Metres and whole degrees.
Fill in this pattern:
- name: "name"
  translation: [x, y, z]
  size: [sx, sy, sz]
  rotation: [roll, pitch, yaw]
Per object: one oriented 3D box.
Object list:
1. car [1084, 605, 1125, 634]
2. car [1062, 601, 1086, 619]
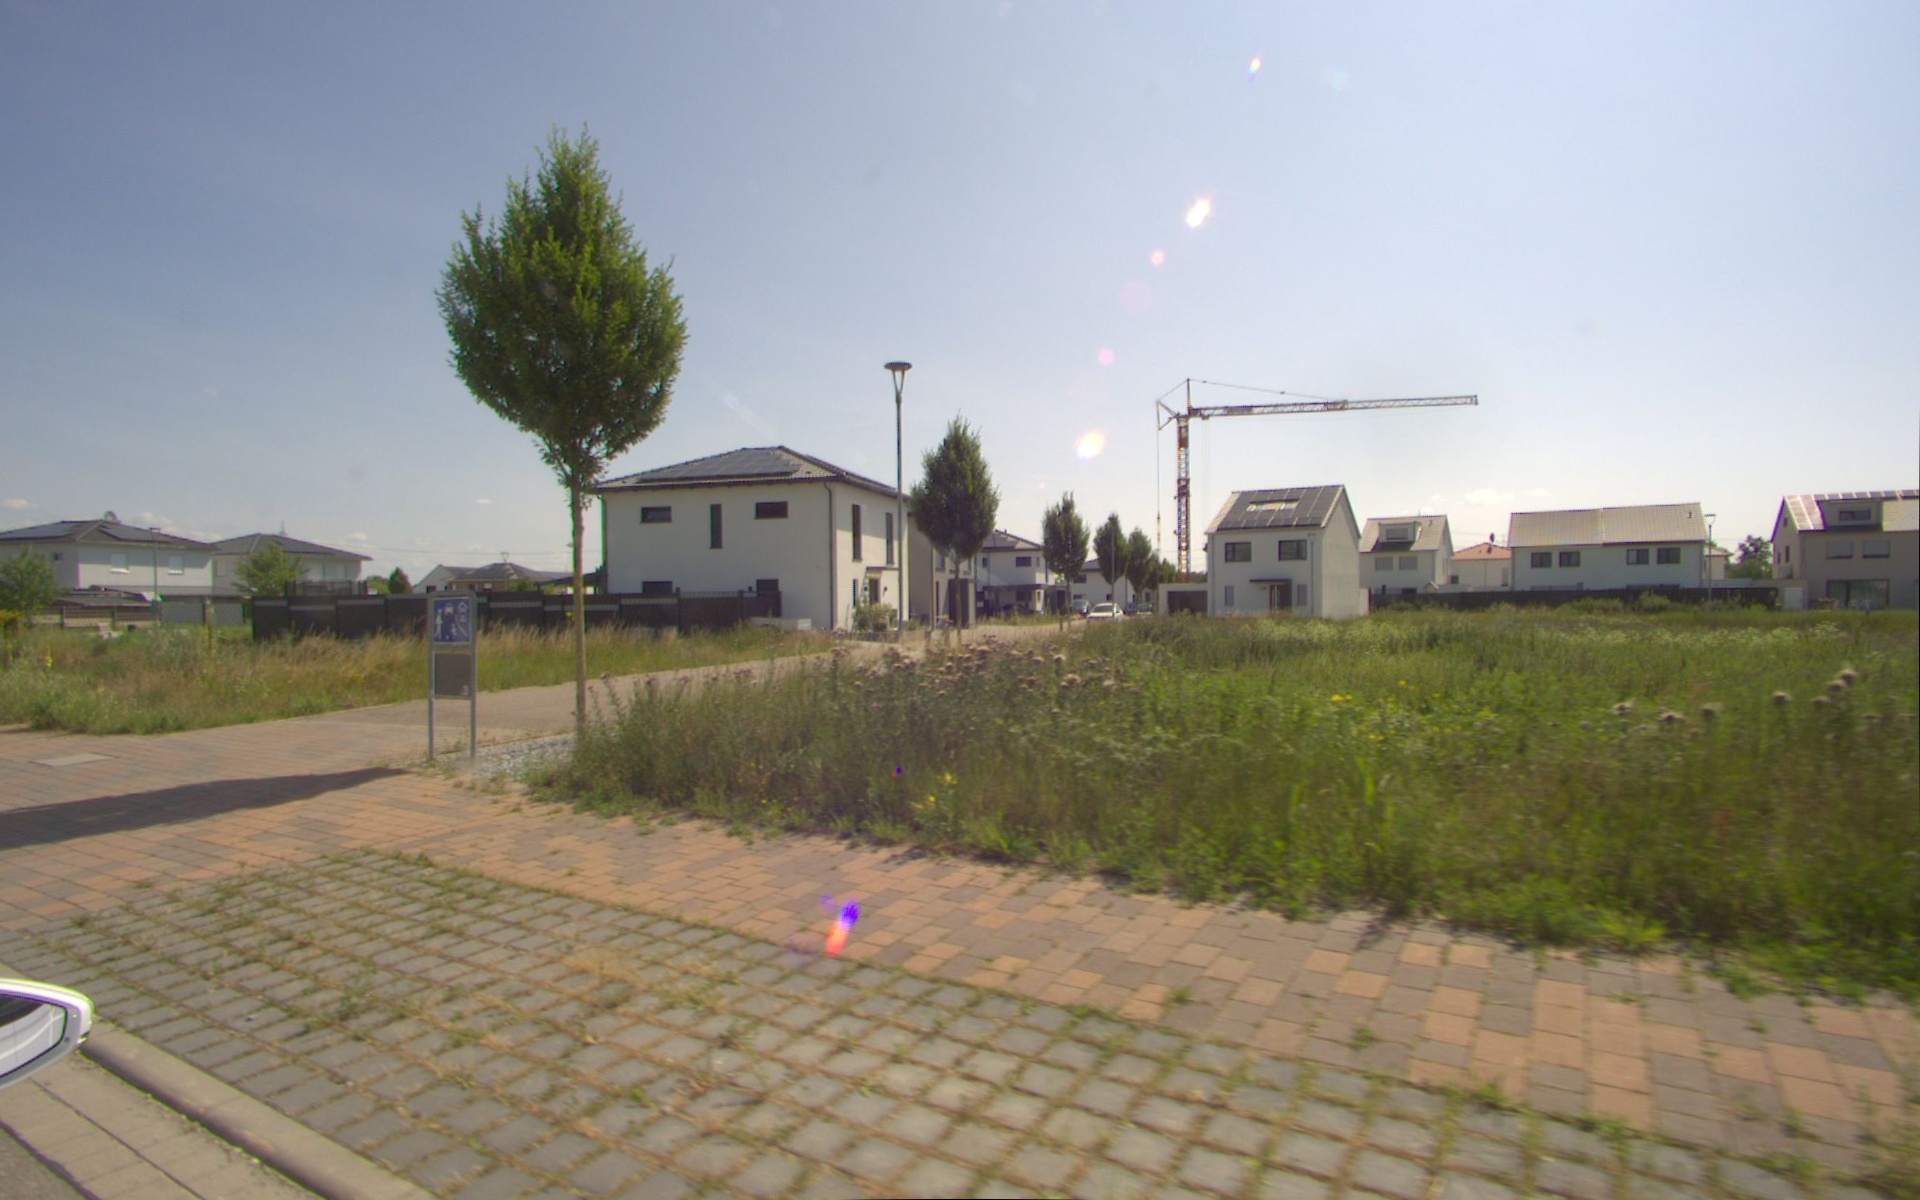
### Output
- name: "car"
  translation: [7.755, 1.021, 53.397]
  size: [1.710, 1.461, 3.826]
  rotation: [0, 0, 15]
- name: "car"
  translation: [9.622, 0.824, 84.572]
  size: [1.564, 1.509, 3.368]
  rotation: [0, 0, 14]
